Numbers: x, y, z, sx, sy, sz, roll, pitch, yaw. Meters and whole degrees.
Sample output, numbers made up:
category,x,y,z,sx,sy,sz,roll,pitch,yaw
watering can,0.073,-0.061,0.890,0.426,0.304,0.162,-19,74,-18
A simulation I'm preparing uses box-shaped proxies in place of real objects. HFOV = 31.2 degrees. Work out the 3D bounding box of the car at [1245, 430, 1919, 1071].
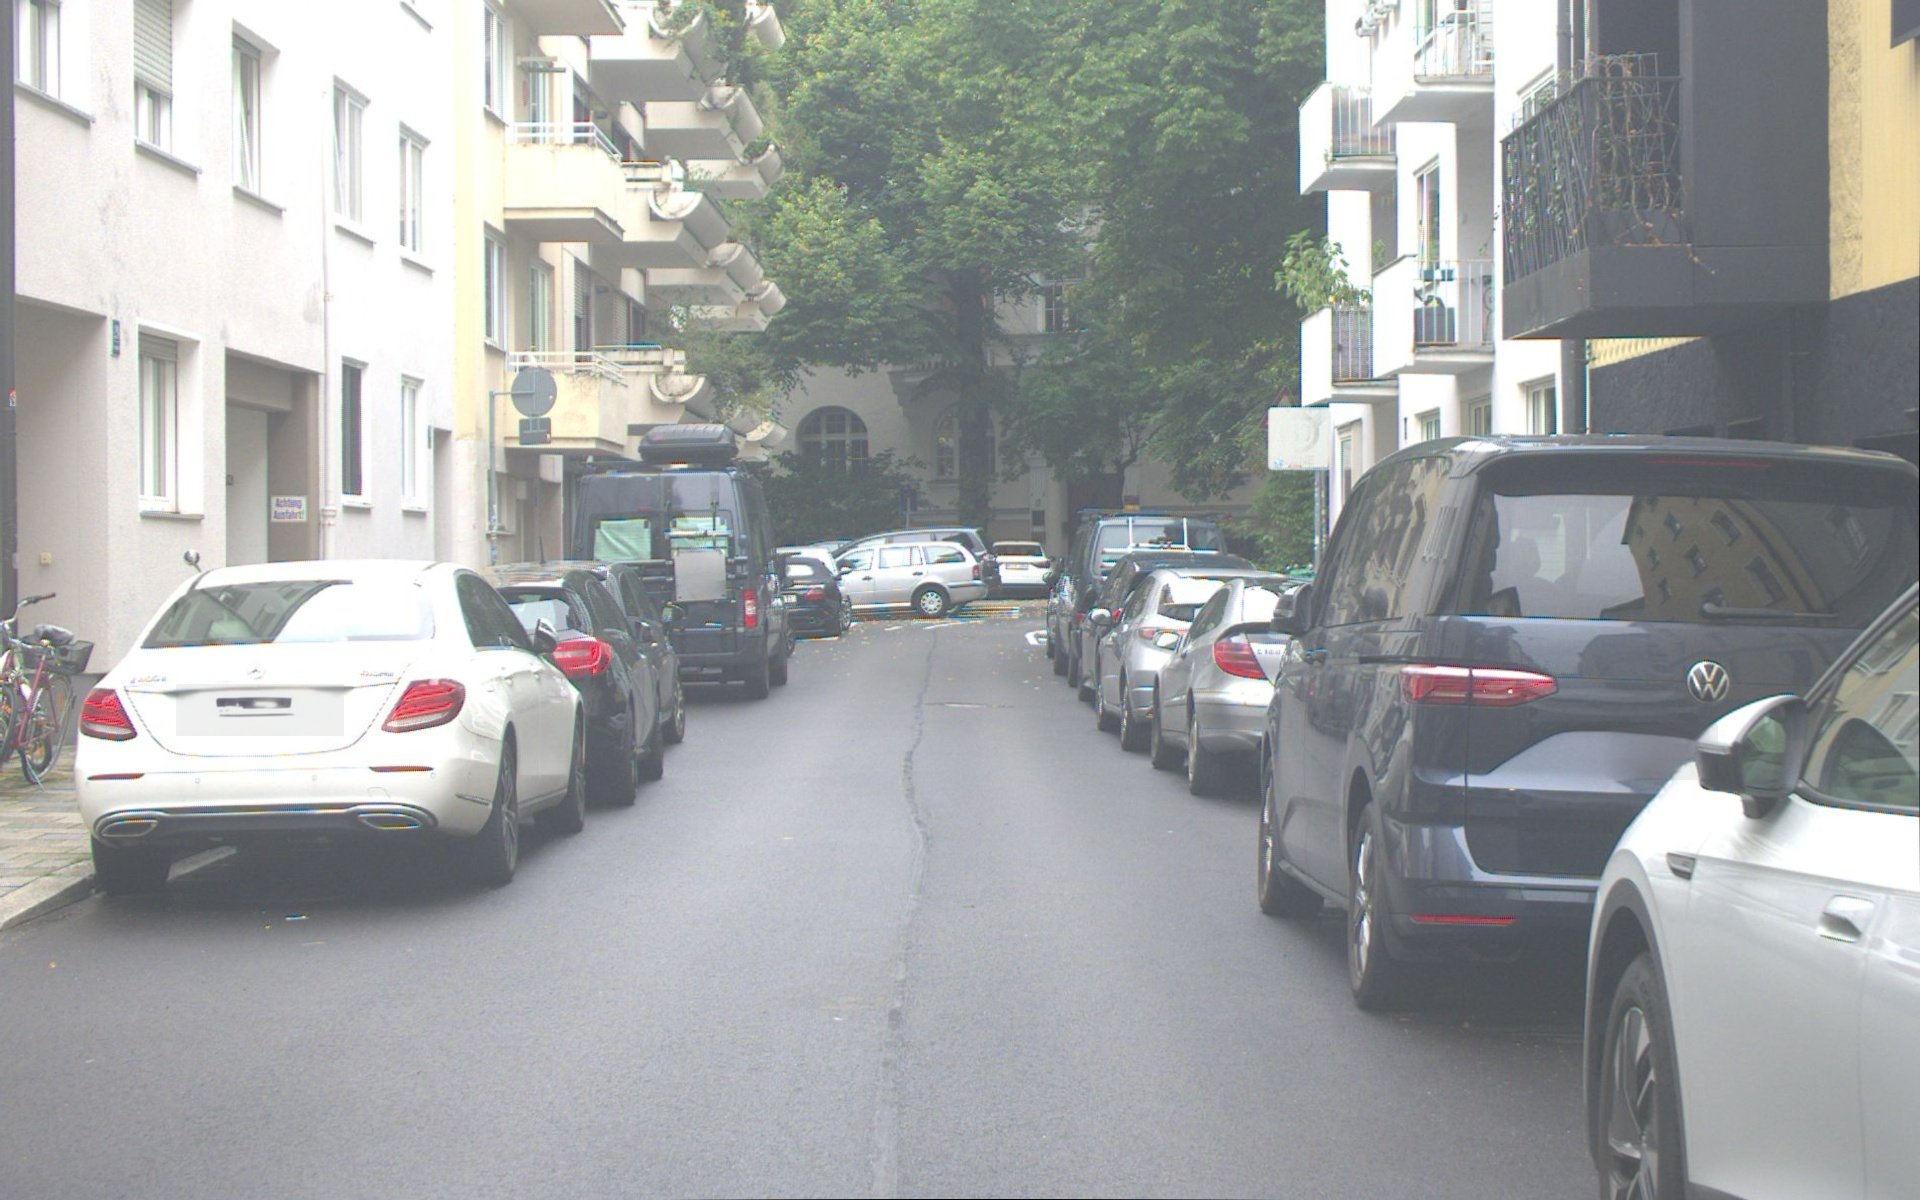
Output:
category,x,y,z,sx,sy,sz,roll,pitch,yaw
car,2.187,0.420,12.648,1.829,1.903,4.416,2,1,0

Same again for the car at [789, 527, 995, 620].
category,x,y,z,sx,sy,sz,roll,pitch,yaw
car,-1.322,-0.522,66.850,3.885,1.579,1.648,-3,1,-1

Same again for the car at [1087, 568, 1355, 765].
category,x,y,z,sx,sy,sz,roll,pitch,yaw
car,2.149,0.507,29.385,1.829,1.449,4.416,3,1,-1

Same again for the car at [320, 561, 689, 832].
category,x,y,z,sx,sy,sz,roll,pitch,yaw
car,-2.771,0.530,21.719,1.777,1.448,4.046,-3,1,-1

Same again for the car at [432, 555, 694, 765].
category,x,y,z,sx,sy,sz,roll,pitch,yaw
car,-3.029,0.418,26.746,1.642,1.448,3.162,-3,1,-1

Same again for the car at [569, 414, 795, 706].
category,x,y,z,sx,sy,sz,roll,pitch,yaw
car,-2.863,-0.434,36.316,1.936,2.792,4.533,-3,1,-1

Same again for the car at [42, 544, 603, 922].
category,x,y,z,sx,sy,sz,roll,pitch,yaw
car,-2.890,0.519,16.582,1.777,1.482,4.519,-3,1,0

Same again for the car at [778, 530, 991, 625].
category,x,y,z,sx,sy,sz,roll,pitch,yaw
car,-1.429,-0.430,64.874,3.885,1.579,1.648,-3,1,-1

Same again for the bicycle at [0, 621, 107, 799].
category,x,y,z,sx,sy,sz,roll,pitch,yaw
bicycle,-5.537,0.640,20.698,0.396,0.978,1.656,1,1,-1

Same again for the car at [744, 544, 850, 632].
category,x,y,z,sx,sy,sz,roll,pitch,yaw
car,-2.763,-0.221,58.810,1.642,1.379,3.483,-3,1,-1

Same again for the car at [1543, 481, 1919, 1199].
category,x,y,z,sx,sy,sz,roll,pitch,yaw
car,2.097,0.649,4.920,1.682,1.562,4.416,2,1,-1

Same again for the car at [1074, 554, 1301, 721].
category,x,y,z,sx,sy,sz,roll,pitch,yaw
car,2.174,0.320,33.947,1.829,1.449,4.416,3,1,-1

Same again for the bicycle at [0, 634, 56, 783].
category,x,y,z,sx,sy,sz,roll,pitch,yaw
bicycle,-6.033,0.667,21.378,0.396,0.866,1.614,1,1,-1

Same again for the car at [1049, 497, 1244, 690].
category,x,y,z,sx,sy,sz,roll,pitch,yaw
car,2.056,-0.105,39.122,1.829,1.992,4.416,3,1,-1

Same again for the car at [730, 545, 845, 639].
category,x,y,z,sx,sy,sz,roll,pitch,yaw
car,-2.735,-0.154,54.966,1.642,1.379,3.483,-3,1,-1

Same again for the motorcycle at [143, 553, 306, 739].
category,x,y,z,sx,sy,sz,roll,pitch,yaw
motorcycle,-5.617,0.322,26.391,0.680,1.345,2.486,0,1,1

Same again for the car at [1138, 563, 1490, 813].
category,x,y,z,sx,sy,sz,roll,pitch,yaw
car,2.311,0.522,23.549,1.829,1.449,4.416,3,1,-1

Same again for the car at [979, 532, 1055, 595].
category,x,y,z,sx,sy,sz,roll,pitch,yaw
car,1.342,-0.887,81.924,1.642,1.379,3.746,-3,1,-1
